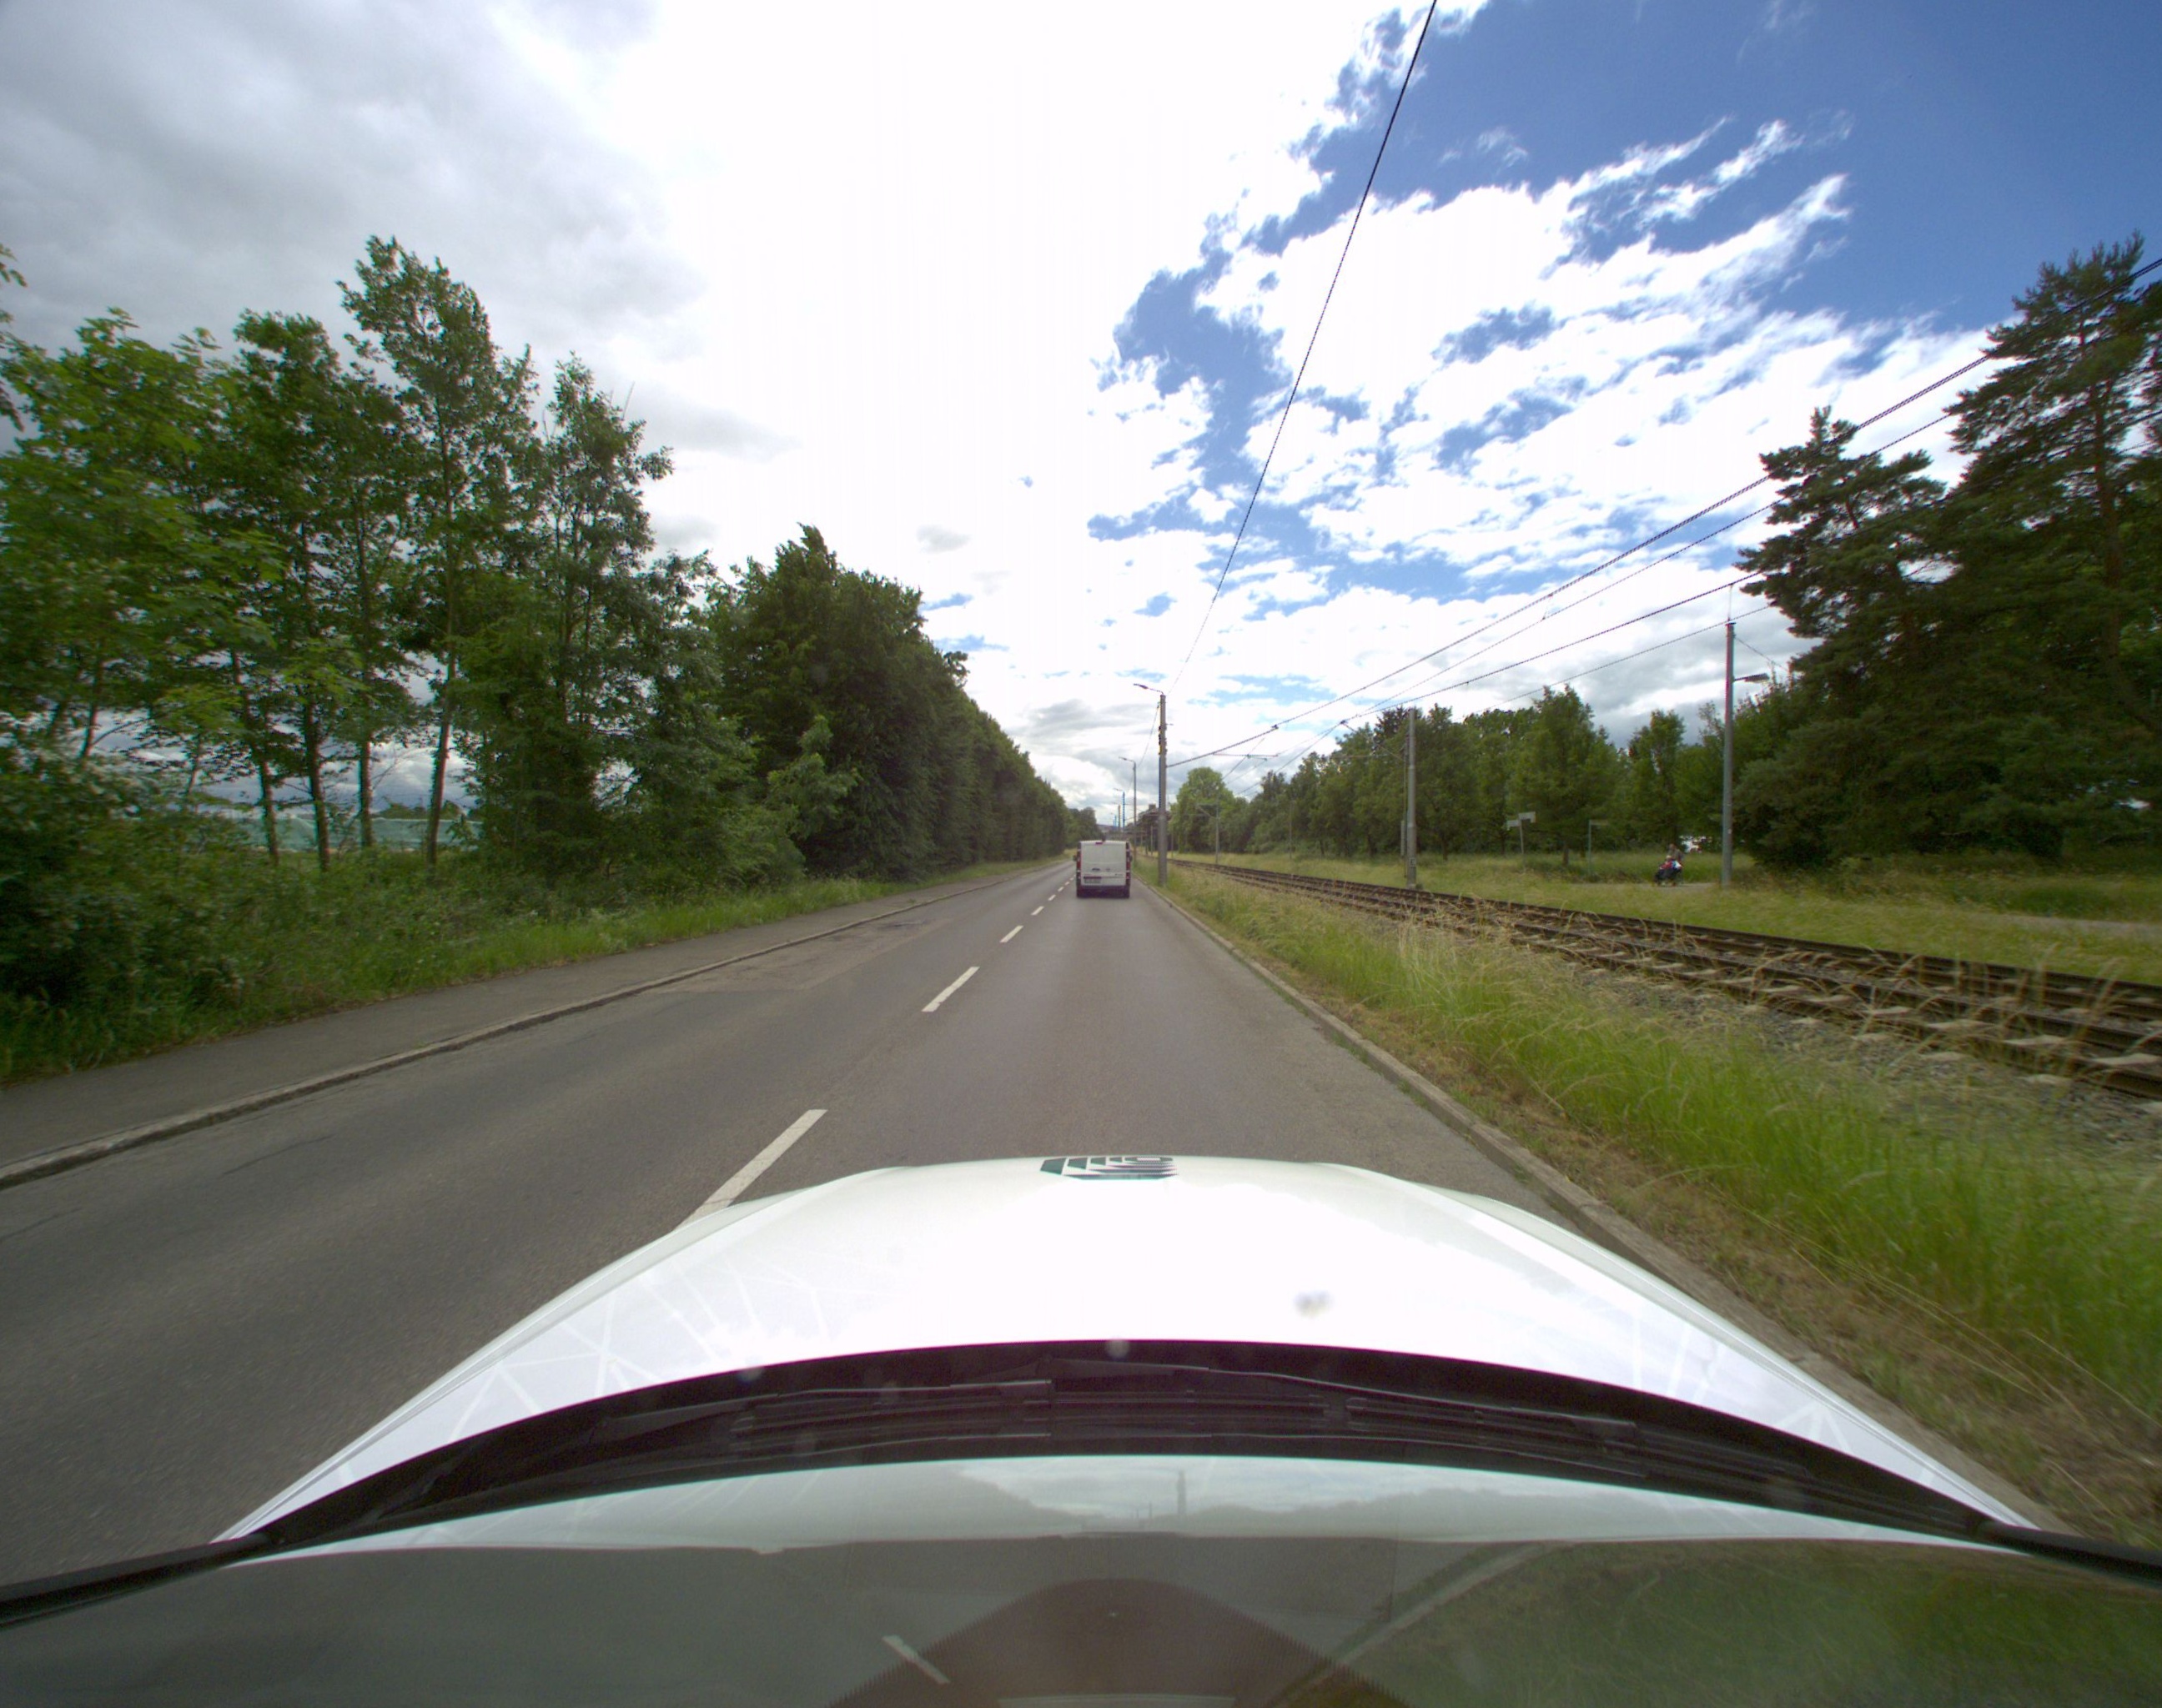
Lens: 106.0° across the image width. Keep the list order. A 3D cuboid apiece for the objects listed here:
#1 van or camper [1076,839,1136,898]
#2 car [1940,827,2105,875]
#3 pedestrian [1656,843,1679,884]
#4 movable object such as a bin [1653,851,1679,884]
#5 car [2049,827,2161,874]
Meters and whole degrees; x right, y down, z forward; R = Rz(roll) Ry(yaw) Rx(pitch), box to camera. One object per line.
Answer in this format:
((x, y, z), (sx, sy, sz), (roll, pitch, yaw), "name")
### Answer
((0.835, 0.482, 29.180), (1.936, 1.897, 4.284), (1, 0, 0), "van or camper")
((37.431, -0.118, 32.530), (1.744, 1.803, 3.985), (0, 0, -11), "car")
((24.519, 0.387, 34.063), (0.650, 1.667, 0.964), (-1, 0, 42), "pedestrian")
((23.703, 0.534, 32.970), (0.651, 1.310, 1.653), (-1, 0, 42), "movable object such as a bin")
((42.090, -0.151, 32.599), (1.744, 1.803, 3.985), (0, 0, -11), "car")
